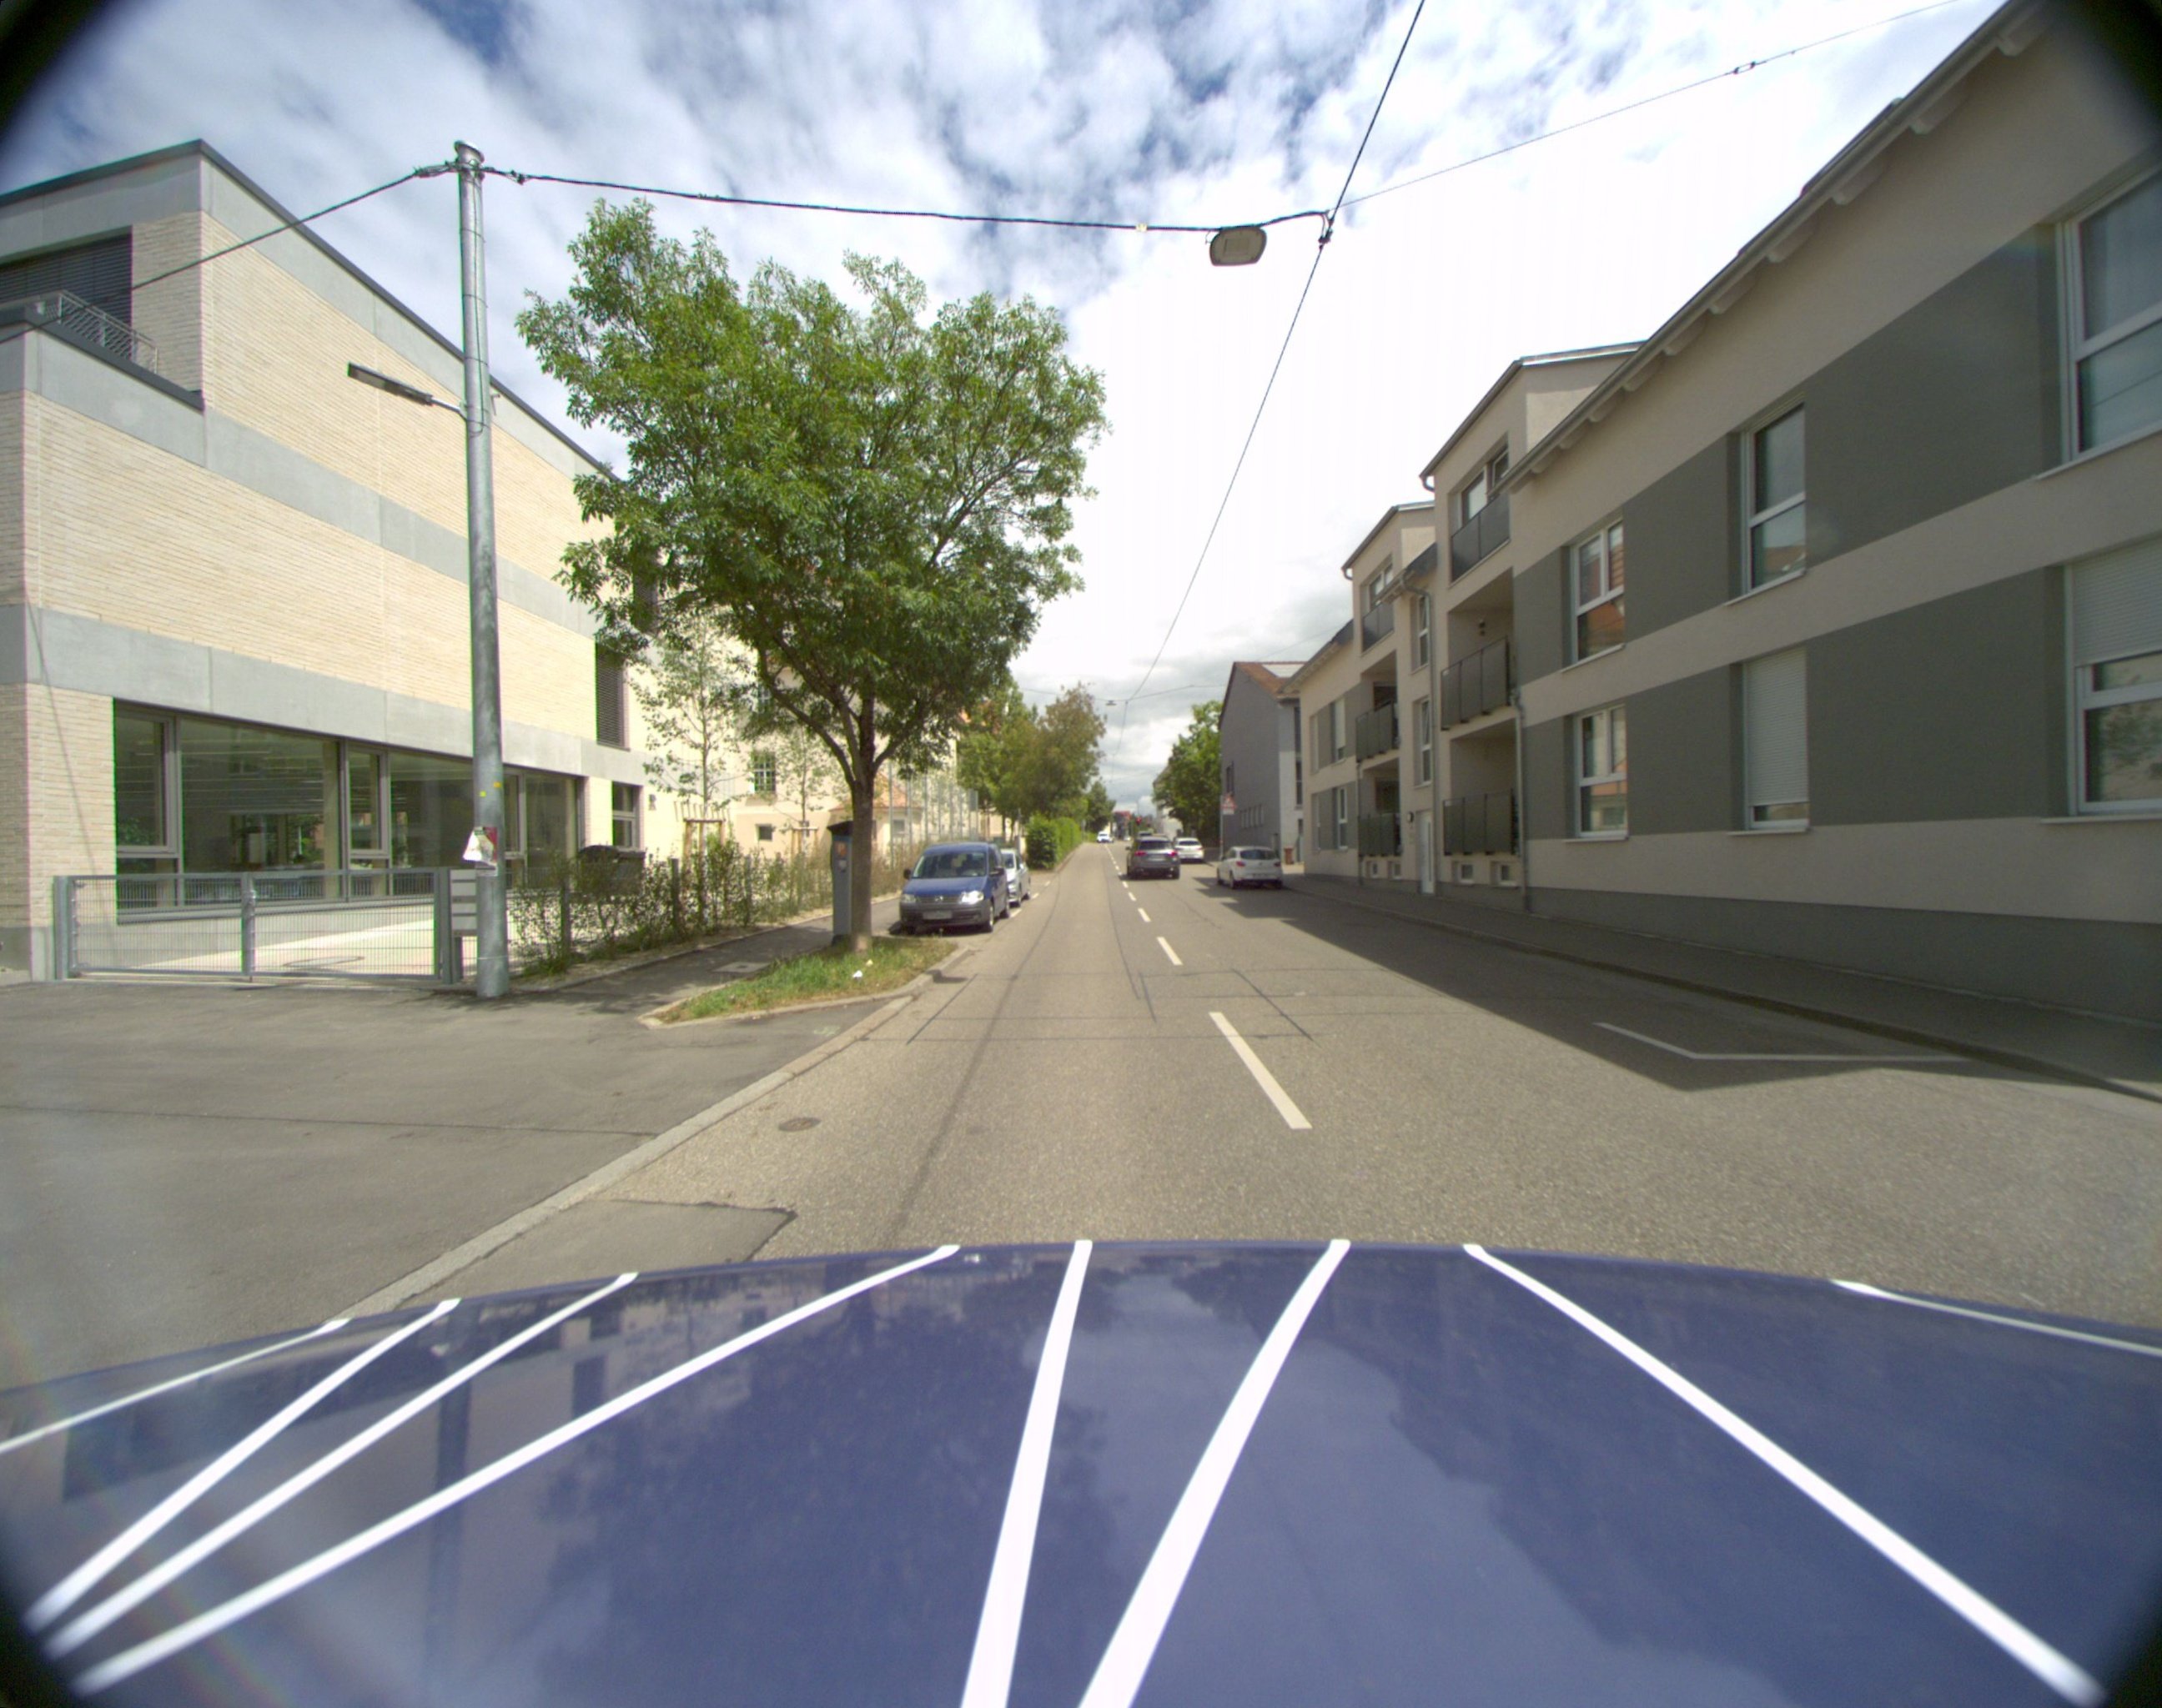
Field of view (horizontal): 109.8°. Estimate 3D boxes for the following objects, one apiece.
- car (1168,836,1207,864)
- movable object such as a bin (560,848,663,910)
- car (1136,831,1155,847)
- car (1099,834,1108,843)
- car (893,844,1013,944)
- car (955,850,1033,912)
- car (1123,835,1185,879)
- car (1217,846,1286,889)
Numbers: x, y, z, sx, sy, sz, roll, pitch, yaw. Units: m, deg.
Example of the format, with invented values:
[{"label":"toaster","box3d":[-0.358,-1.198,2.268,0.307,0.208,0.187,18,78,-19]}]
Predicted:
[{"label":"car","box3d":[6.135,-0.293,44.169,1.737,1.480,4.065,0,3,1]},{"label":"movable object such as a bin","box3d":[-11.611,0.593,18.878,1.351,1.438,1.807,-1,1,2]},{"label":"car","box3d":[6.522,-1.512,77.341,1.672,1.545,3.964,0,3,1]},{"label":"car","box3d":[3.566,-2.405,119.241,1.298,1.148,2.983,-5,0,1]},{"label":"car","box3d":[-2.504,0.700,15.853,1.698,1.733,4.158,-1,2,1]},{"label":"car","box3d":[-2.377,0.685,21.607,1.677,1.510,3.669,-1,2,1]},{"label":"car","box3d":[3.001,0.128,32.327,1.946,1.709,4.595,0,0,-3]},{"label":"car","box3d":[5.795,0.427,26.196,1.665,1.322,3.474,-1,0,1]}]
